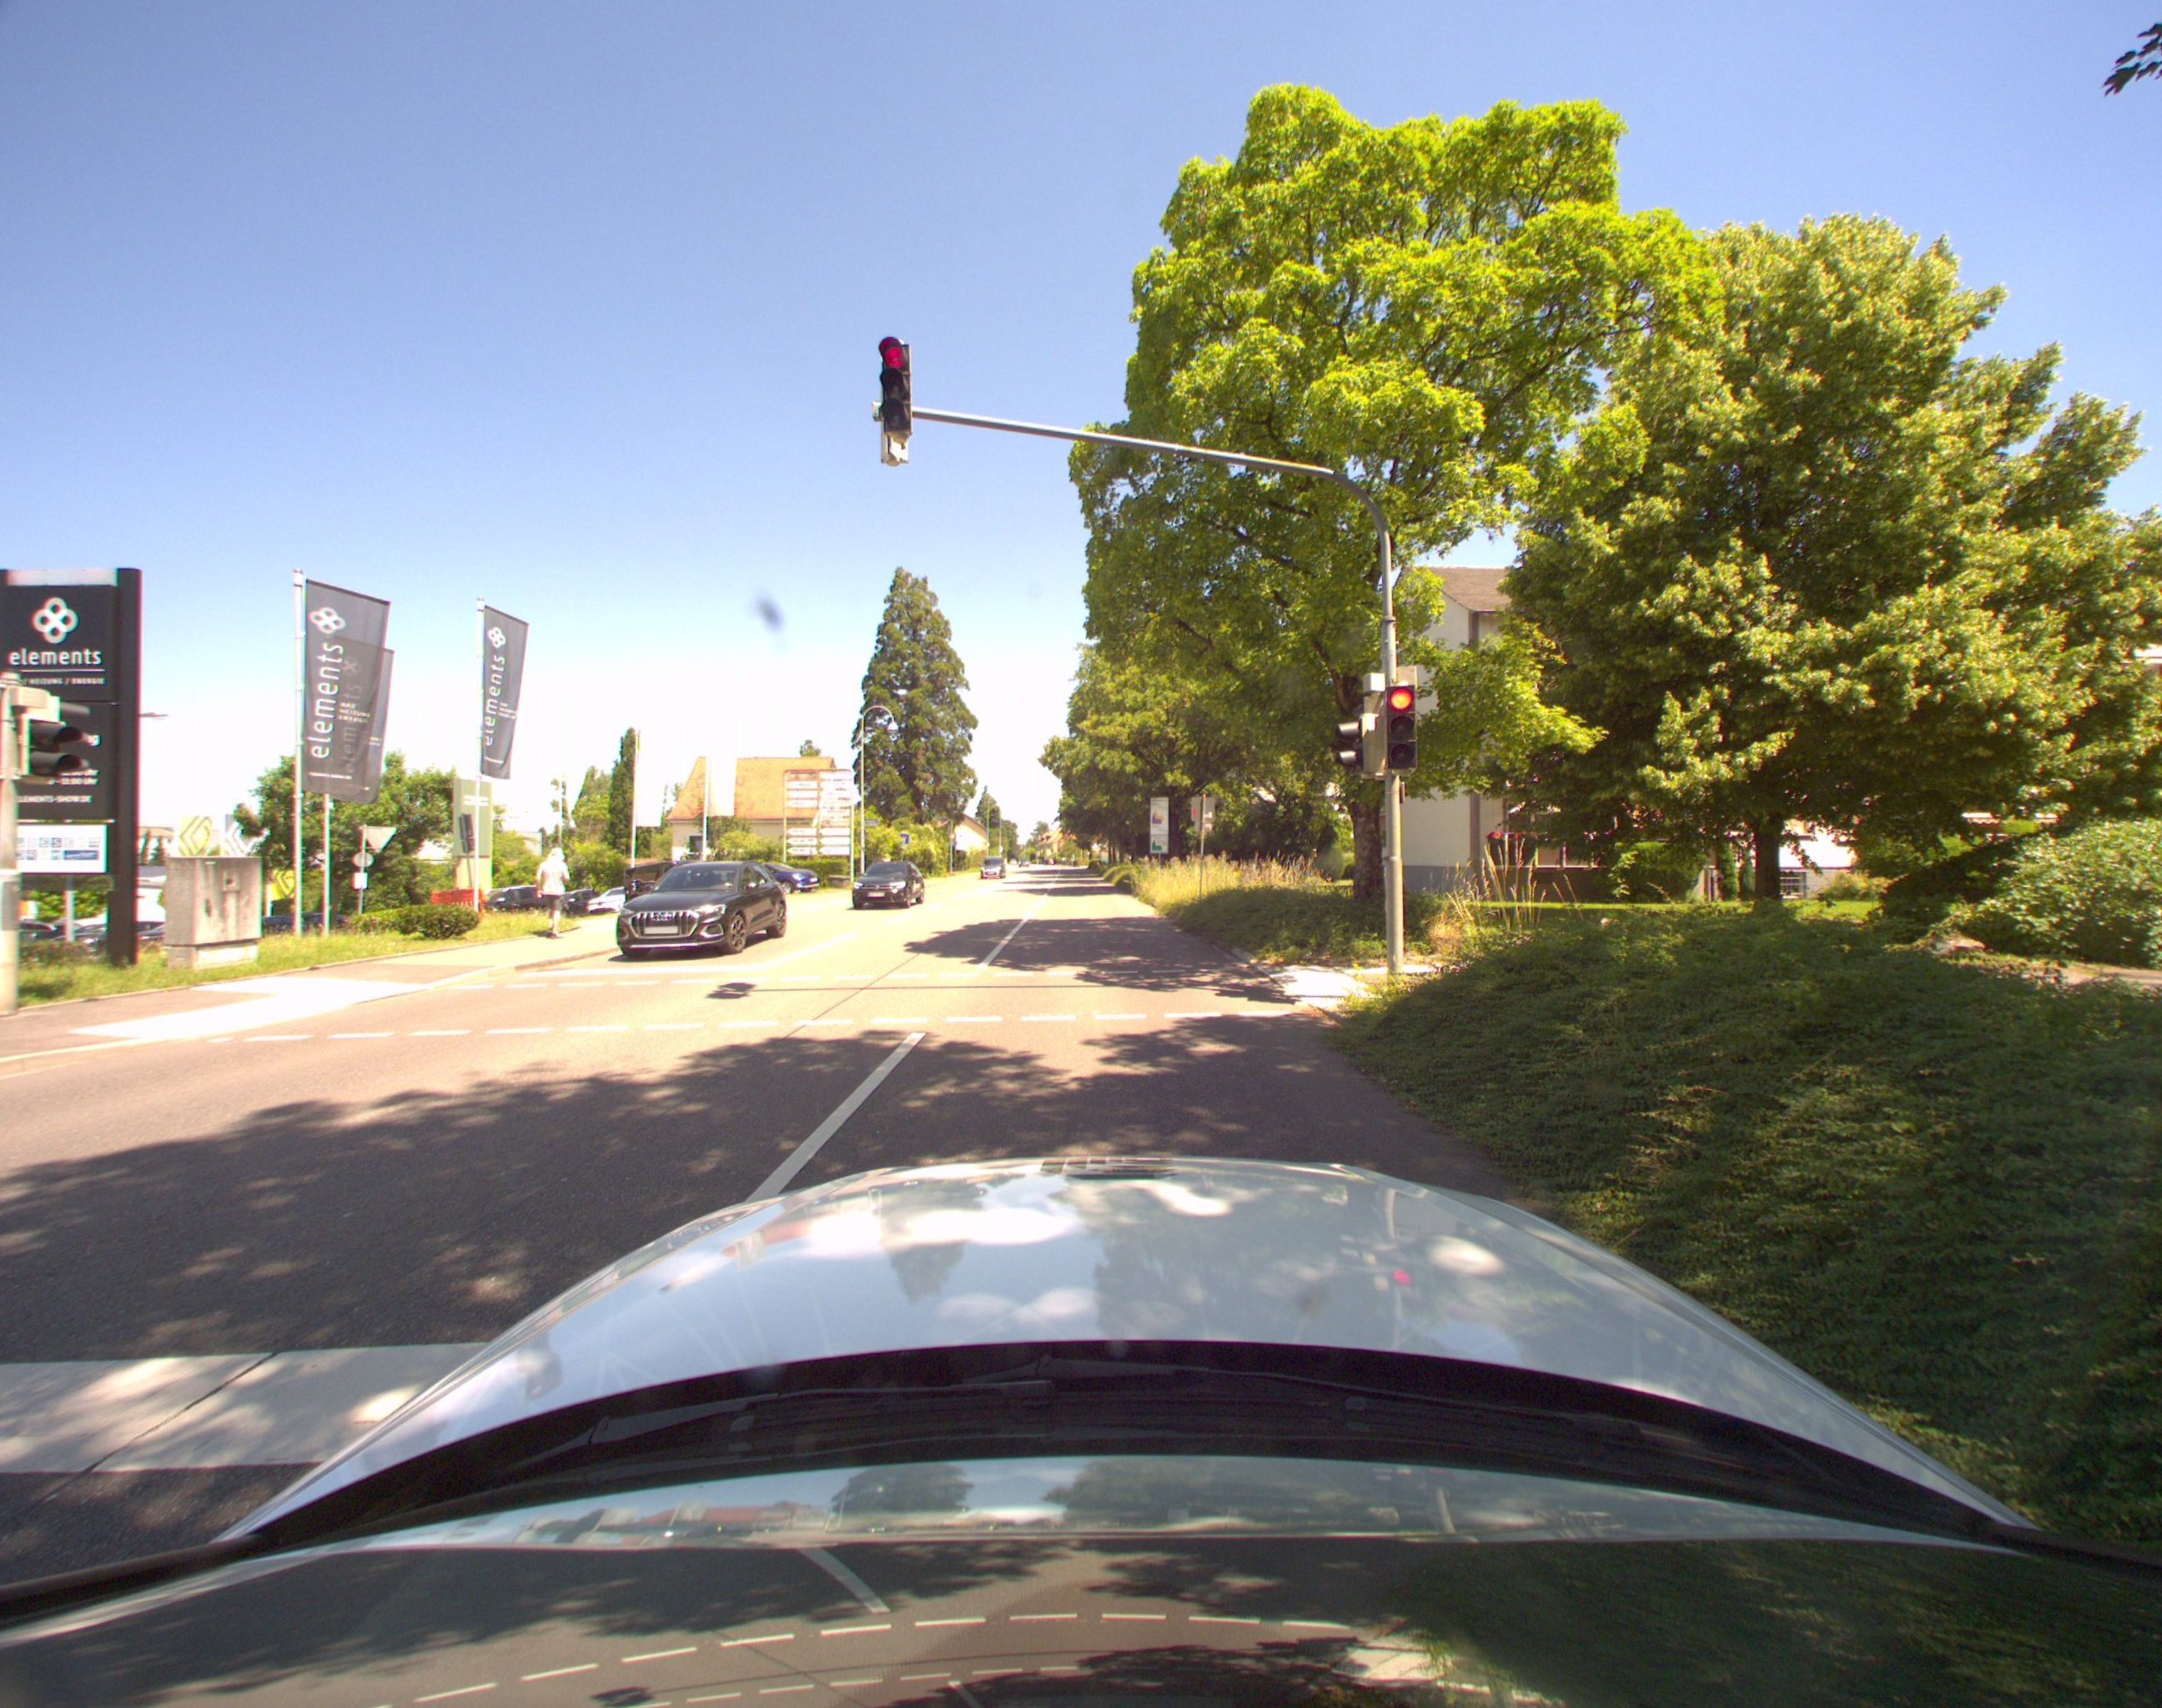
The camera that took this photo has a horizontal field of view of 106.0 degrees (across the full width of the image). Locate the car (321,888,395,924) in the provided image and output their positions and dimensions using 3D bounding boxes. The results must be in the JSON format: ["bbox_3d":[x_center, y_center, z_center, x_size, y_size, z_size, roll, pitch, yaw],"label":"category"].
[{"bbox_3d":[-39.980,2.834,45.150,1.816,1.722,4.059,0,0,-22],"label":"car"}]

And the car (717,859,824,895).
[{"bbox_3d":[-13.933,1.007,36.592,4.109,1.504,1.782,-1,0,10],"label":"car"}]

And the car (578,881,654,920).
[{"bbox_3d":[-23.395,2.291,41.151,1.806,1.722,4.081,0,0,-6],"label":"car"}]

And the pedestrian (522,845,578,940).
[{"bbox_3d":[-10.135,0.722,15.551,0.538,1.761,0.706,-1,-1,28],"label":"pedestrian"}]

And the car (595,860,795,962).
[{"bbox_3d":[-6.874,0.914,15.082,1.923,1.555,4.295,-1,0,-5],"label":"car"}]

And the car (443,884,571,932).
[{"bbox_3d":[-23.754,2.185,33.873,1.795,1.722,4.106,-1,0,16],"label":"car"}]

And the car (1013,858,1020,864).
[{"bbox_3d":[-19.475,2.154,246.264,1.675,1.684,4.000,-1,0,1],"label":"car"}]

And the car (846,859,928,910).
[{"bbox_3d":[-6.295,0.936,26.860,1.864,1.507,4.049,-1,0,-2],"label":"car"}]

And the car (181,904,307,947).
[{"bbox_3d":[-34.364,2.892,33.597,1.647,1.415,3.855,-1,0,-10],"label":"car"}]

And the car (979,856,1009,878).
[{"bbox_3d":[-6.913,1.015,65.270,1.804,1.762,4.571,0,0,1],"label":"car"}]

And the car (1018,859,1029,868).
[{"bbox_3d":[-10.124,1.627,143.741,1.788,1.536,4.313,-1,0,-1],"label":"car"}]

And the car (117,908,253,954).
[{"bbox_3d":[-37.130,3.148,33.909,1.754,1.486,3.983,-1,0,-12],"label":"car"}]

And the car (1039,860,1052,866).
[{"bbox_3d":[-8.248,2.039,190.503,1.948,1.359,4.438,-1,0,-16],"label":"car"}]
